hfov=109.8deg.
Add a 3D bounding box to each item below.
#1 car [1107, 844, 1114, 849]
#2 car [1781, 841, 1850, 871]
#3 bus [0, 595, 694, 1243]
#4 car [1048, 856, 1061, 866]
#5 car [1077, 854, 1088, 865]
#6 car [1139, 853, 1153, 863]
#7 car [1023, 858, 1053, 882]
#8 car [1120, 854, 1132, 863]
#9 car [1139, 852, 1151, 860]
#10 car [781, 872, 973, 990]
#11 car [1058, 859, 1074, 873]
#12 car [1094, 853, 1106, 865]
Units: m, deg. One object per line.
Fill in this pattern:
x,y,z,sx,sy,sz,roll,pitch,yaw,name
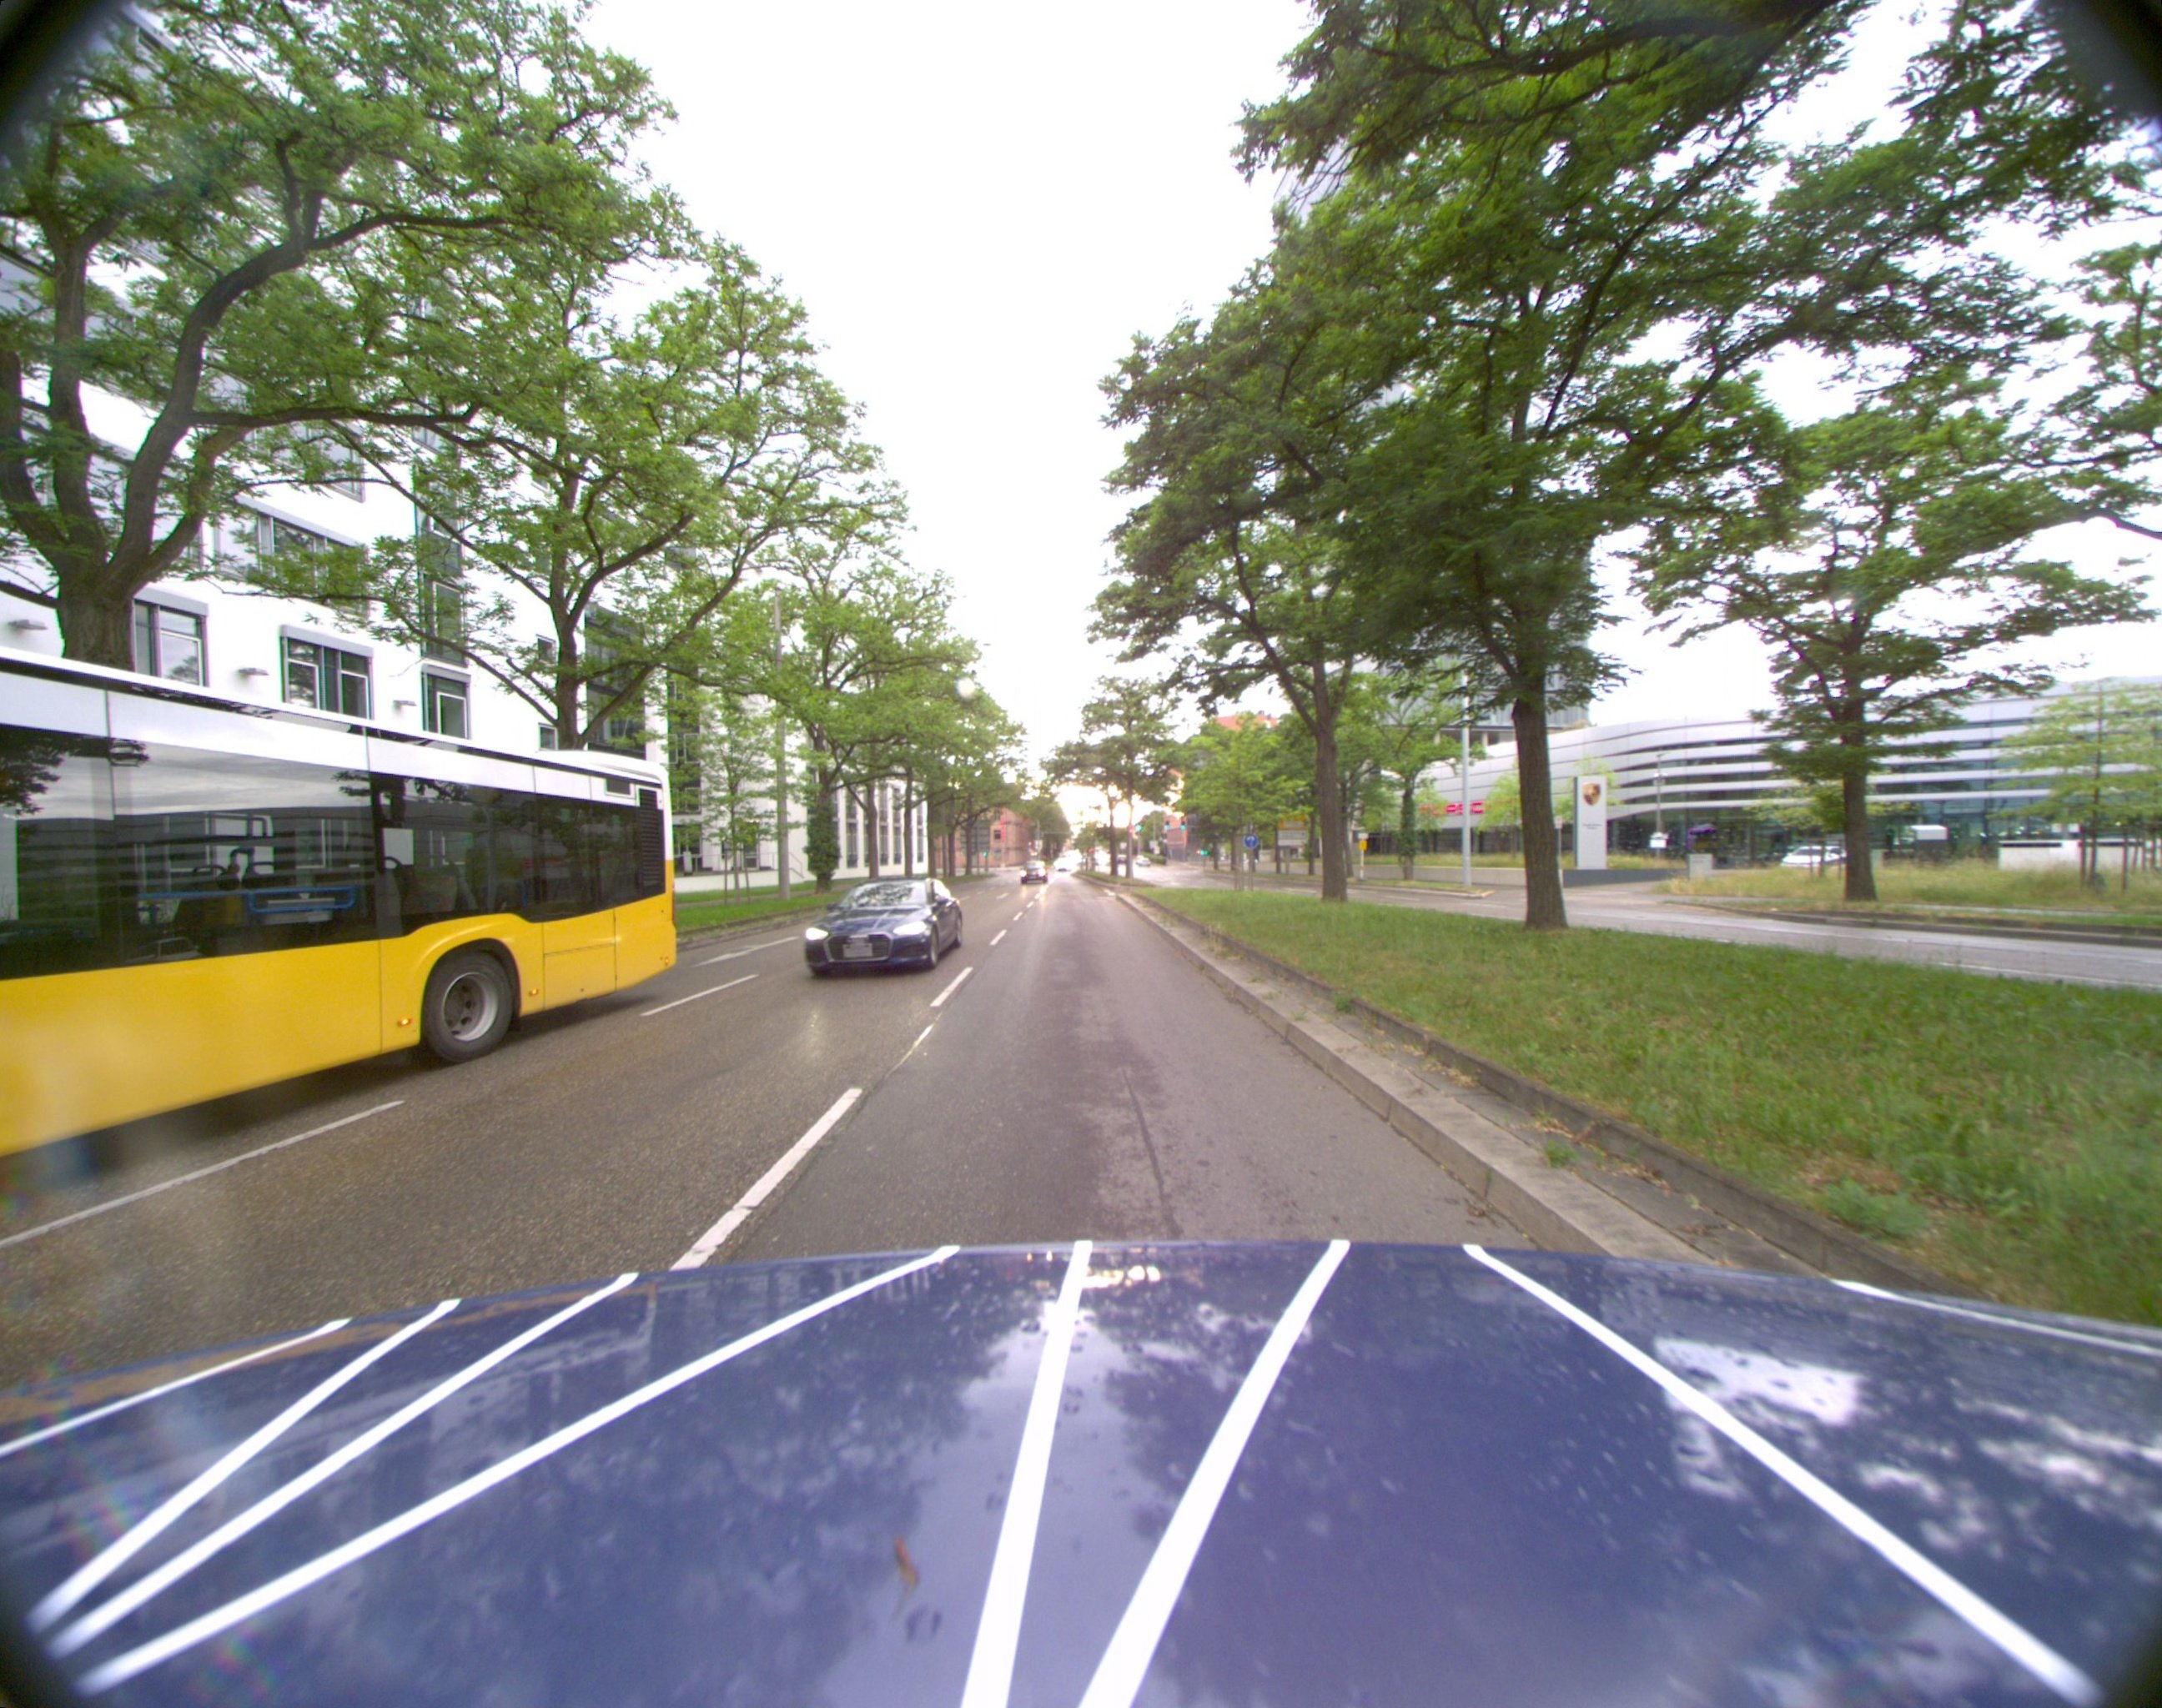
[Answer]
10.146,-2.539,261.436,1.783,1.445,3.998,-3,1,-2,car
39.062,0.100,40.405,4.006,1.405,1.774,-4,1,-33,car
-6.598,0.362,3.944,2.734,3.133,12.146,-3,0,0,bus
-4.404,1.220,126.696,1.998,1.576,4.000,-1,0,1,car
0.309,0.974,133.895,1.931,2.002,4.000,-1,0,1,car
10.876,0.662,127.242,1.894,1.445,3.998,-3,1,-2,car
-2.943,1.075,52.733,1.625,1.426,3.551,-3,1,3,car
8.513,0.778,143.904,1.846,1.581,4.172,0,1,-2,car
12.144,0.364,144.889,1.783,1.445,3.998,-3,1,-2,car
-3.078,1.105,12.486,1.878,1.346,4.331,-3,1,0,car
-1.972,1.610,102.553,1.998,1.707,4.000,-1,0,1,car
3.359,0.846,131.935,1.998,2.002,4.000,-1,0,1,car
